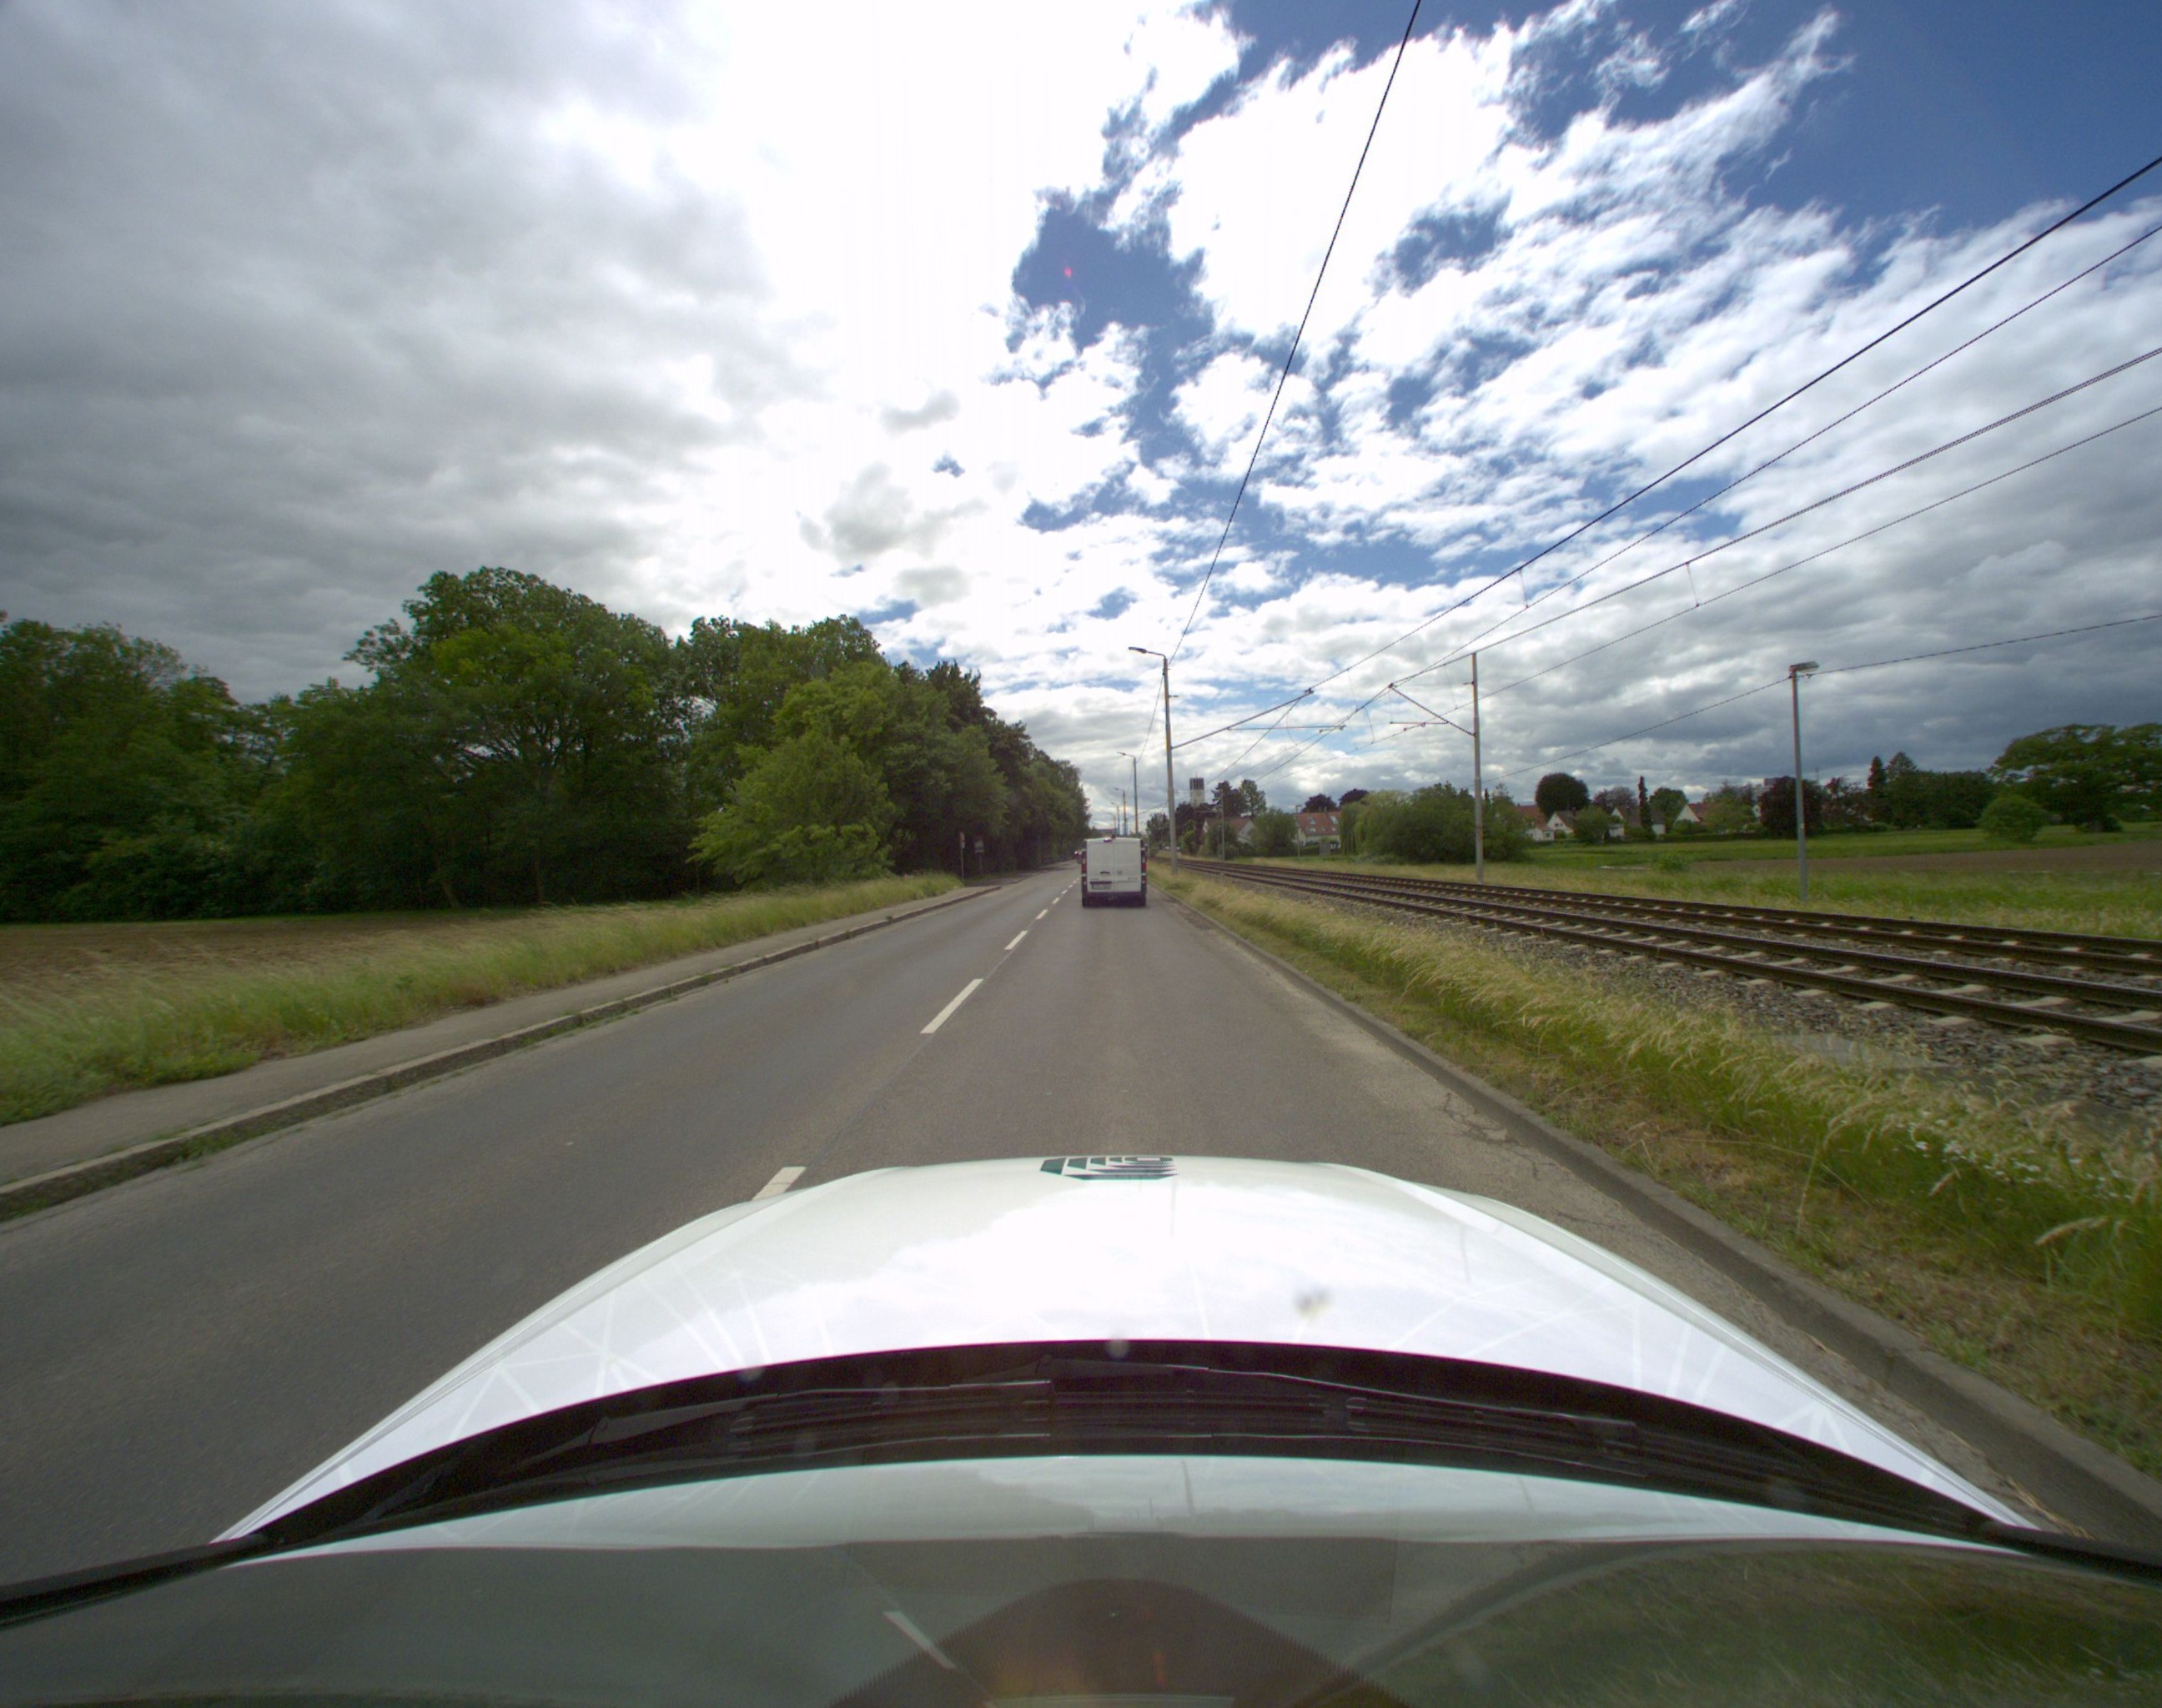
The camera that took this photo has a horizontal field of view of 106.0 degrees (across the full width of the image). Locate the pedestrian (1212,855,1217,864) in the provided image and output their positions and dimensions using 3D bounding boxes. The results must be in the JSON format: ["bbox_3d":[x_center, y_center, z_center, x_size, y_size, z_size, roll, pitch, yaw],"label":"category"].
[{"bbox_3d":[21.928,0.933,133.684,0.654,1.506,0.657,-2,-1,0],"label":"pedestrian"}]

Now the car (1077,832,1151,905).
[{"bbox_3d":[0.920,0.403,24.412,1.987,1.957,4.000,-2,0,0],"label":"car"}]

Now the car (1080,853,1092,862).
[{"bbox_3d":[0.931,0.643,148.264,1.987,1.717,4.123,-2,0,0],"label":"car"}]

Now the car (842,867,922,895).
[{"bbox_3d":[-11.331,1.521,46.512,3.970,1.299,1.746,-4,-1,3],"label":"car"}]

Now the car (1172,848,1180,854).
[{"bbox_3d":[30.112,-1.079,257.355,1.987,1.816,4.000,0,-2,0],"label":"car"}]
